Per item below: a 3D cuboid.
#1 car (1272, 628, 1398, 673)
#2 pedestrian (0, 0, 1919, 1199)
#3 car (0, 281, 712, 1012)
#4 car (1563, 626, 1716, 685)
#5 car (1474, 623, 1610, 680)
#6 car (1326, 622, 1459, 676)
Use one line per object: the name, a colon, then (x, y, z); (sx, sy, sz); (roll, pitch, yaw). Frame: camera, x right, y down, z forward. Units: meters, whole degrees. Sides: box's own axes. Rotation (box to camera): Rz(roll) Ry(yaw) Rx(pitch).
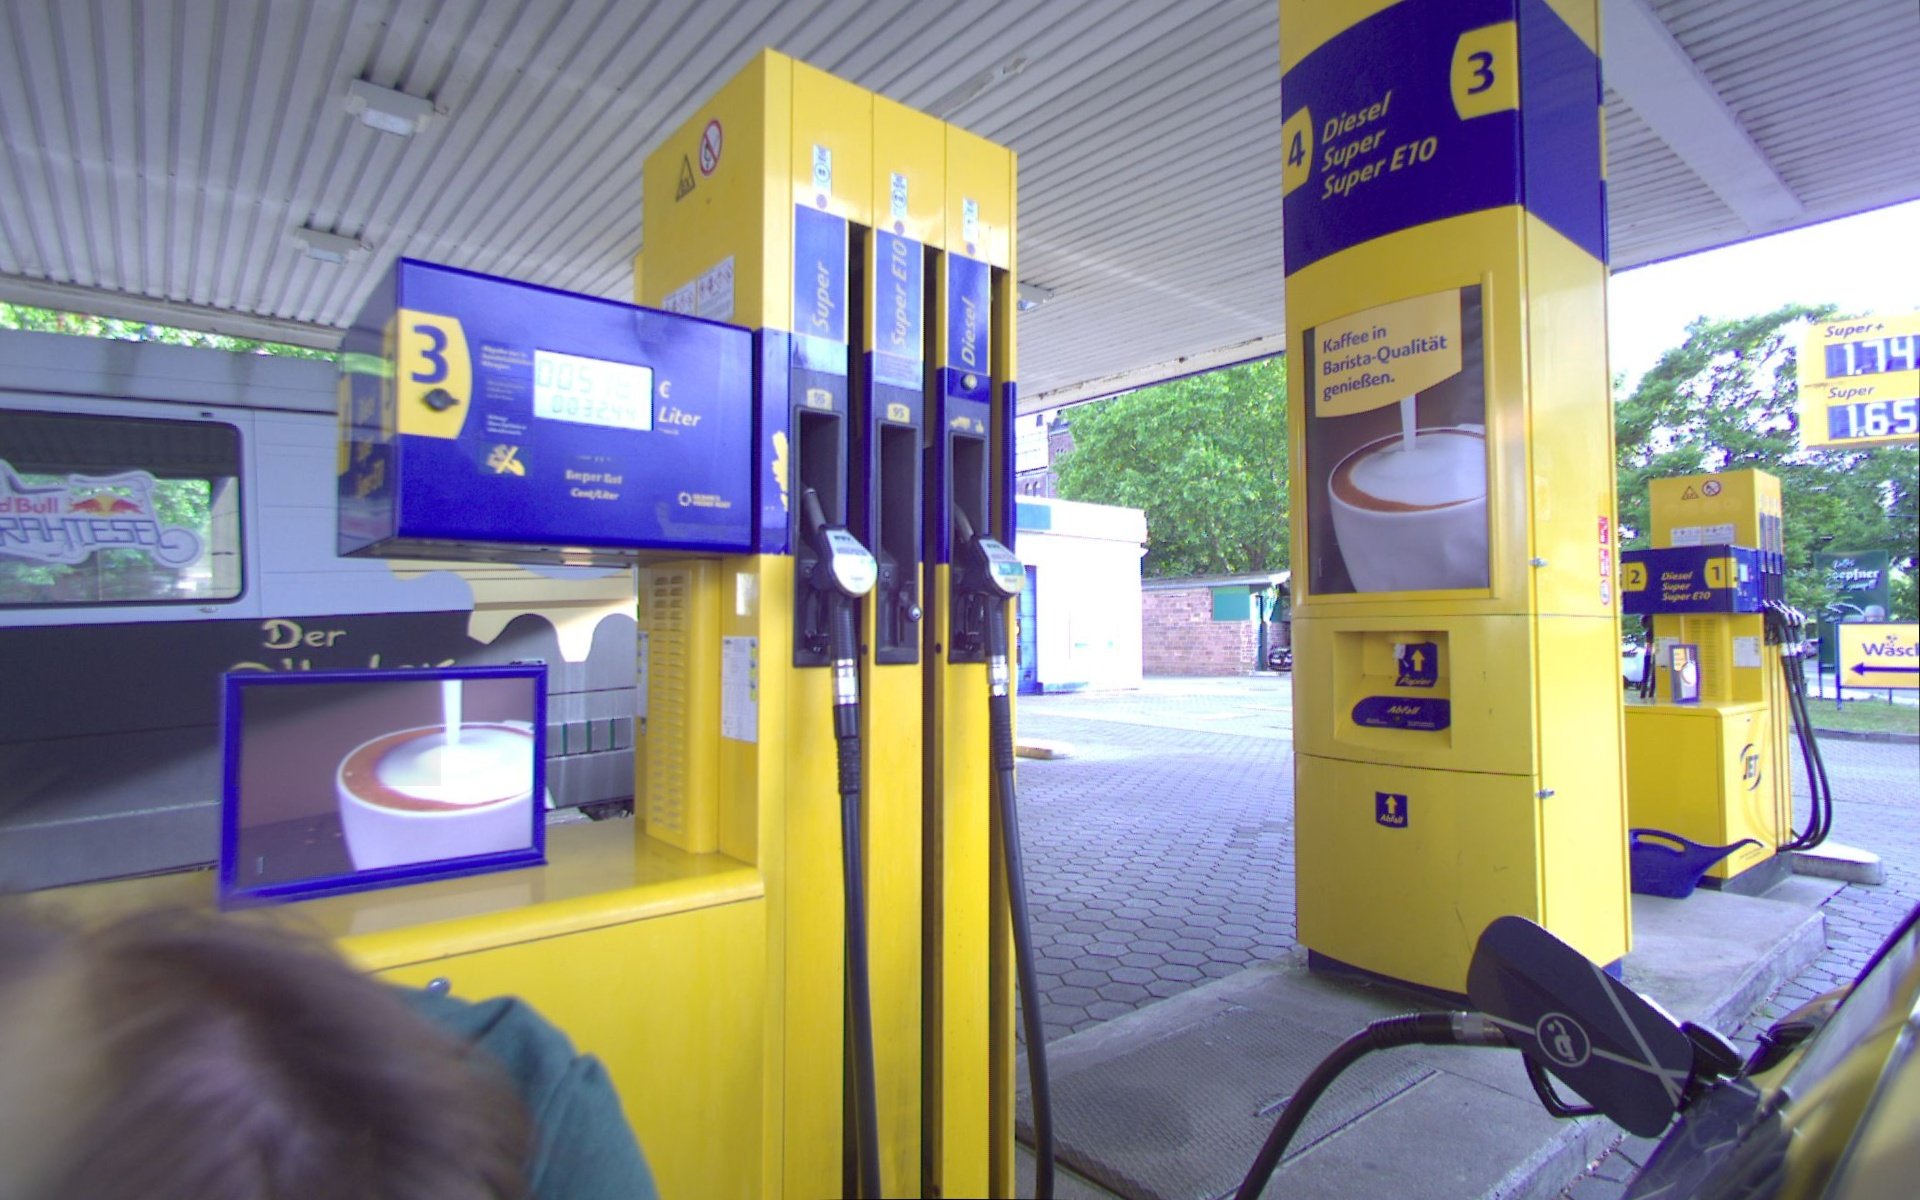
car: (12.625, 1.692, 34.029); (4.112, 1.453, 1.826); (2, -3, -31)
pedestrian: (-0.343, 0.518, 0.561); (0.975, 1.750, 1.182); (-2, 1, -36)
car: (-4.110, 0.182, 4.850); (5.248, 2.760, 2.201); (0, -1, -39)
car: (18.238, 1.482, 27.132); (4.112, 1.478, 1.826); (2, -3, -31)
car: (17.754, 1.573, 30.848); (4.112, 1.606, 1.826); (2, -3, -31)
car: (13.765, 1.562, 32.166); (4.112, 1.606, 1.826); (2, -3, -31)
